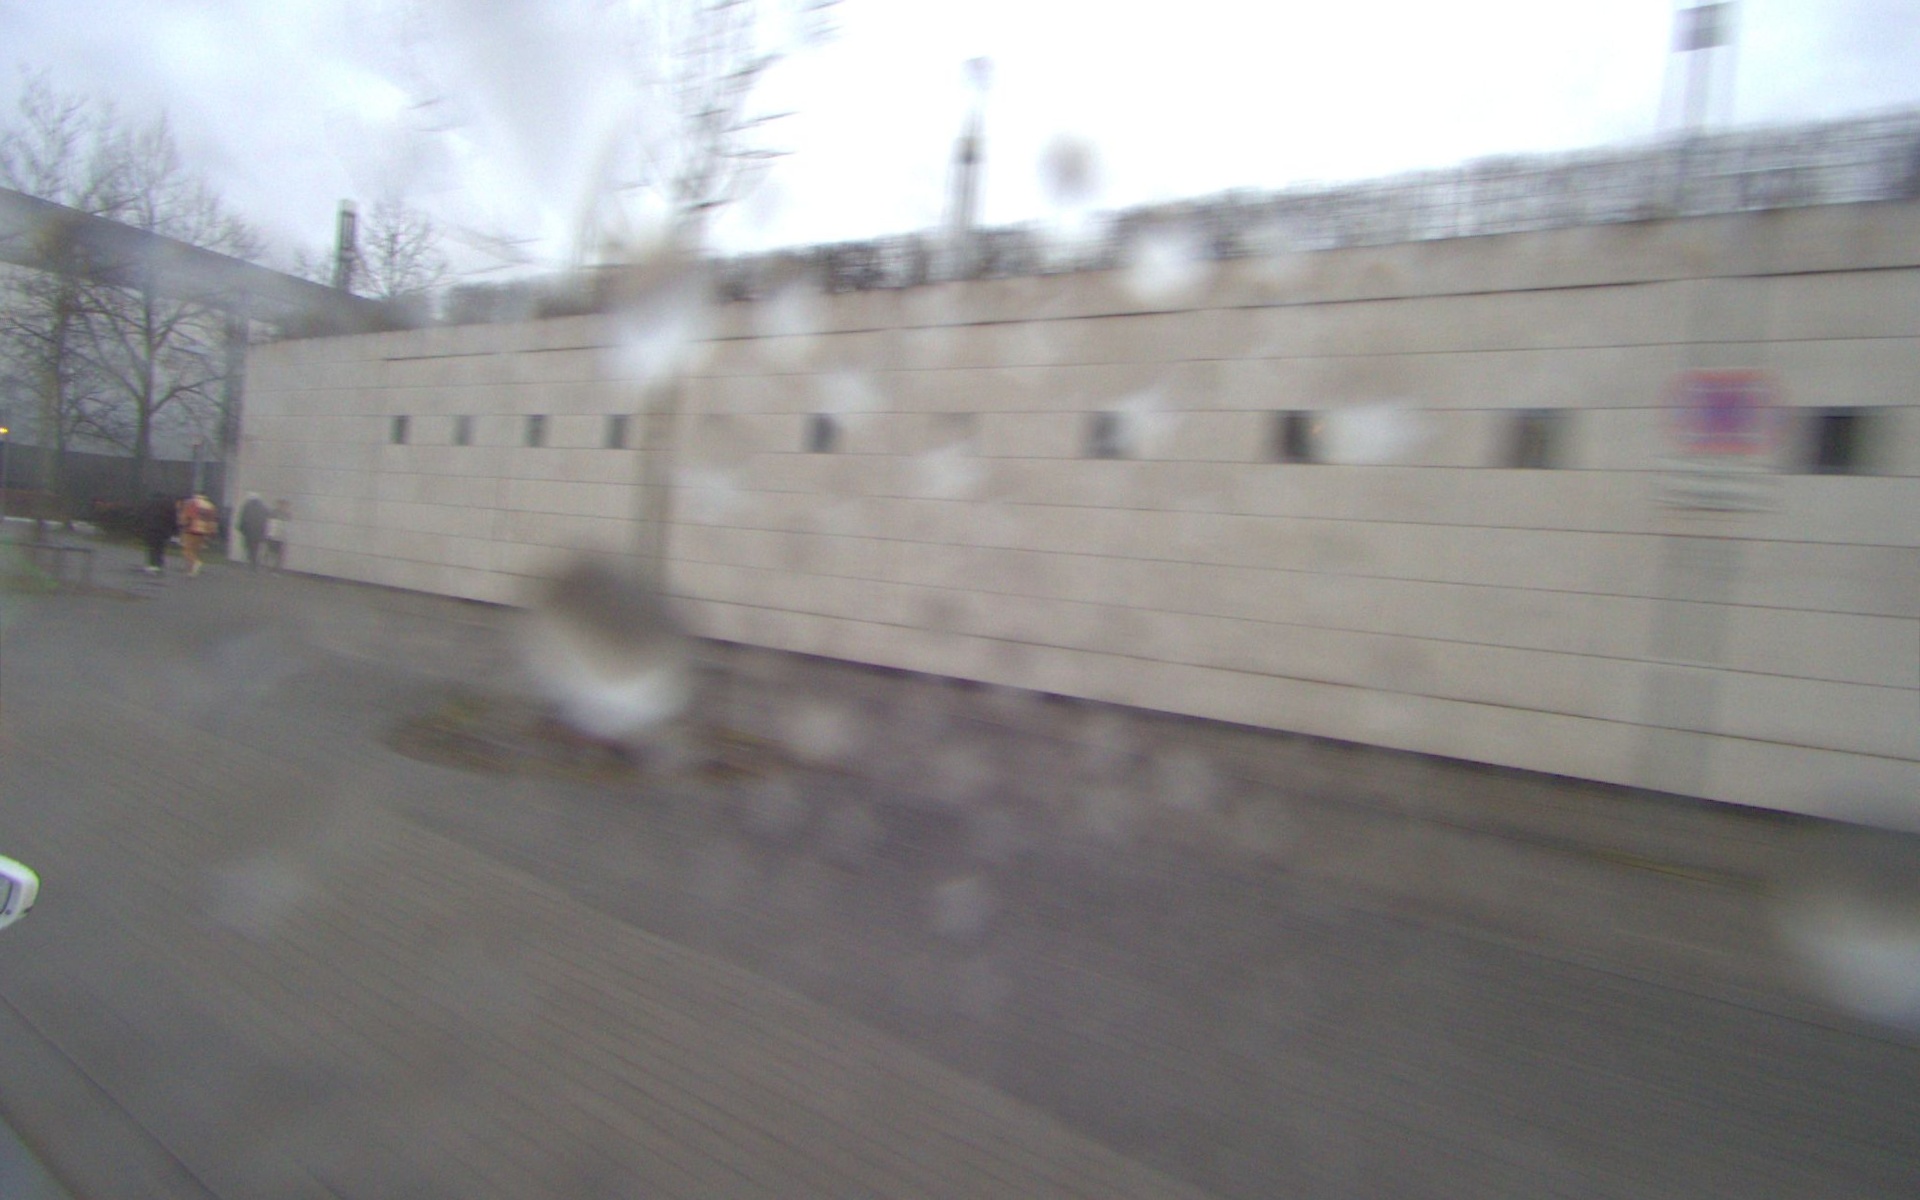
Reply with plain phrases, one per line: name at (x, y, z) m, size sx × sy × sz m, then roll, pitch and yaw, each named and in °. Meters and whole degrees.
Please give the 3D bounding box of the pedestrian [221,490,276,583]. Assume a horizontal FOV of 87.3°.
pedestrian at (-14.558, -1.297, 20.573) m, size 0.671 × 1.799 × 0.606 m, roll 7°, pitch 0°, yaw -45°

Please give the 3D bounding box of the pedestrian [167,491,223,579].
pedestrian at (-15.158, -1.280, 19.924) m, size 0.671 × 1.631 × 0.606 m, roll 7°, pitch 0°, yaw -44°

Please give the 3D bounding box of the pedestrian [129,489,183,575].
pedestrian at (-16.490, -1.389, 20.632) m, size 0.670 × 1.644 × 0.607 m, roll 7°, pitch 0°, yaw -43°

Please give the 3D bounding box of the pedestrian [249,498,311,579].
pedestrian at (-15.025, -1.356, 22.240) m, size 0.977 × 1.677 × 0.668 m, roll 6°, pitch 2°, yaw 27°
